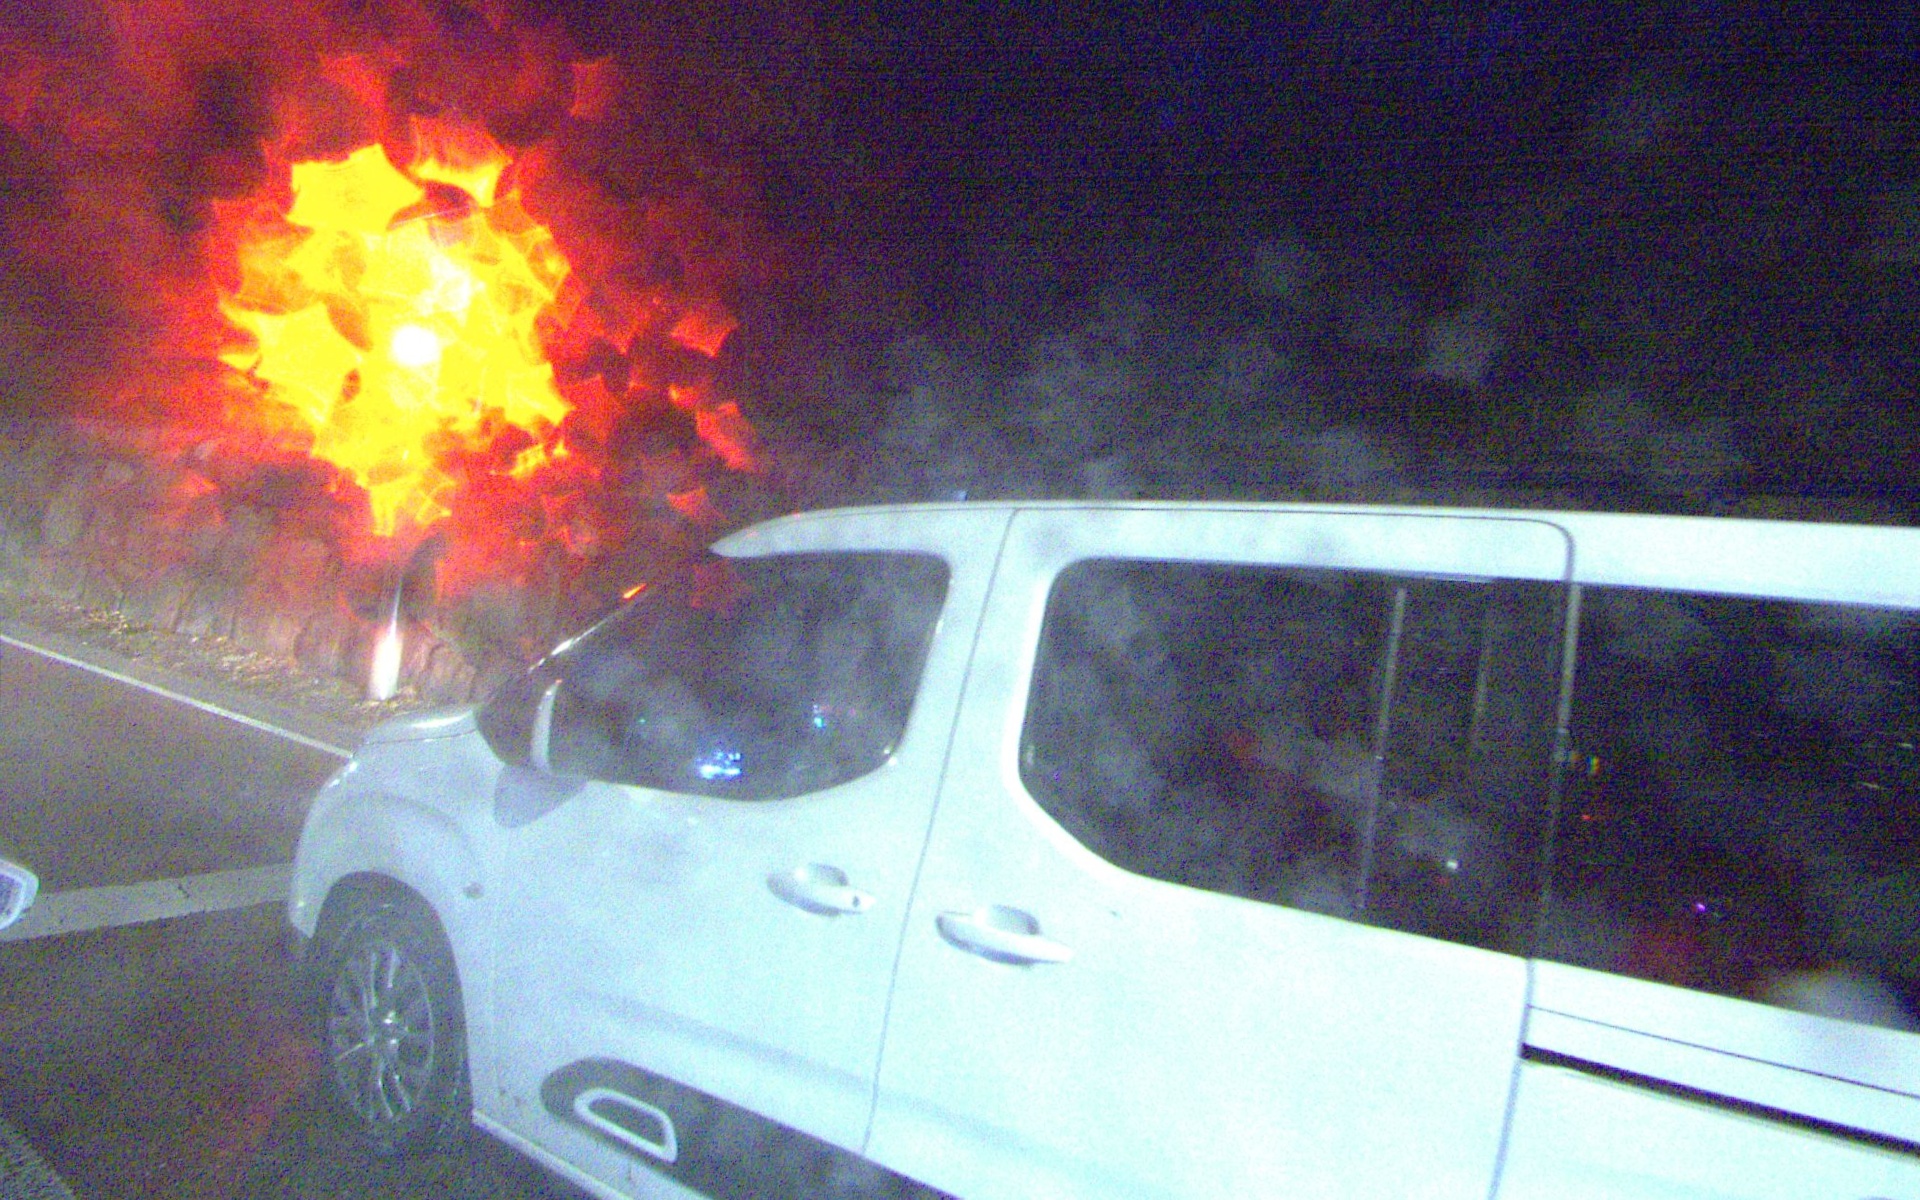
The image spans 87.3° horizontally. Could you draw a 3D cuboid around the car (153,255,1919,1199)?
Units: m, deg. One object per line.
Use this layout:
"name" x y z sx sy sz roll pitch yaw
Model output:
"car" 0.262 0.610 2.456 4.501 2.045 1.795 7 -1 30
